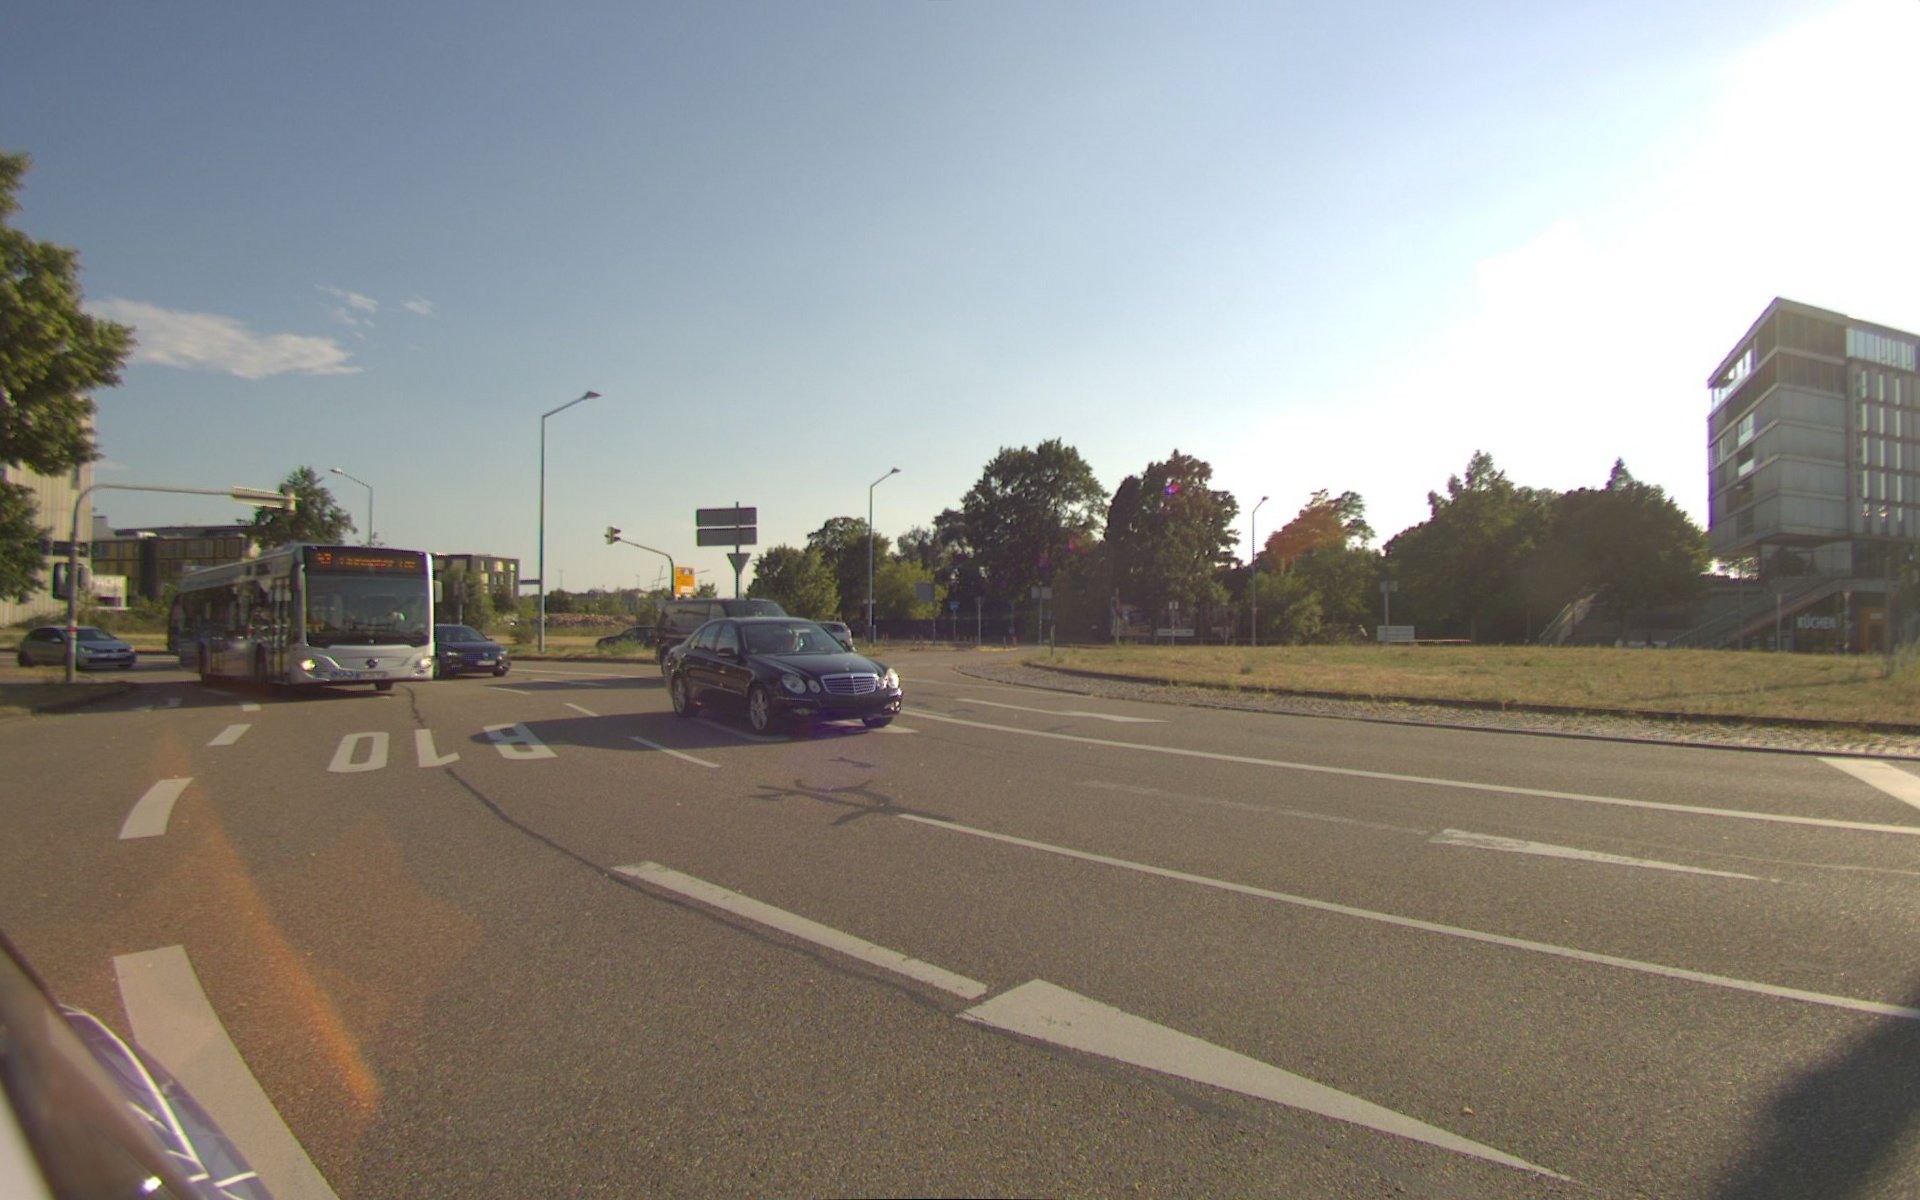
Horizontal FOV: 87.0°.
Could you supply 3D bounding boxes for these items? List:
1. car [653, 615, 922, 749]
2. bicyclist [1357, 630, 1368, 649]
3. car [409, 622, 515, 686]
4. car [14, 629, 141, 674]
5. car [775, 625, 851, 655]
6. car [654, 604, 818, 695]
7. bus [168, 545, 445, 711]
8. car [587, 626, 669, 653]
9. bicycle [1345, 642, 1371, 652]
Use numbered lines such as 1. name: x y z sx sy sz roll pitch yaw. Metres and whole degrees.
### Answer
1. car: -2.497 0.965 13.640 1.781 1.447 4.504 -1 -1 -35
2. bicyclist: 29.450 2.880 74.088 0.648 1.336 0.516 -1 -2 13
3. car: -13.871 1.436 28.085 1.782 1.521 4.170 -1 0 -39
4. car: -29.229 1.682 33.536 3.598 1.434 1.576 -1 -2 19
5. car: -7.774 2.082 53.419 3.878 1.537 1.660 0 -2 -12
6. car: -5.476 1.067 24.211 1.832 1.947 5.023 0 0 -39
7. bus: -15.646 0.585 23.596 11.717 3.066 2.560 -1 -1 42
8. car: -17.205 2.021 52.545 3.773 1.359 1.482 0 -2 -4
9. bicycle: 29.167 3.422 74.117 1.704 0.750 0.478 -1 -2 13
